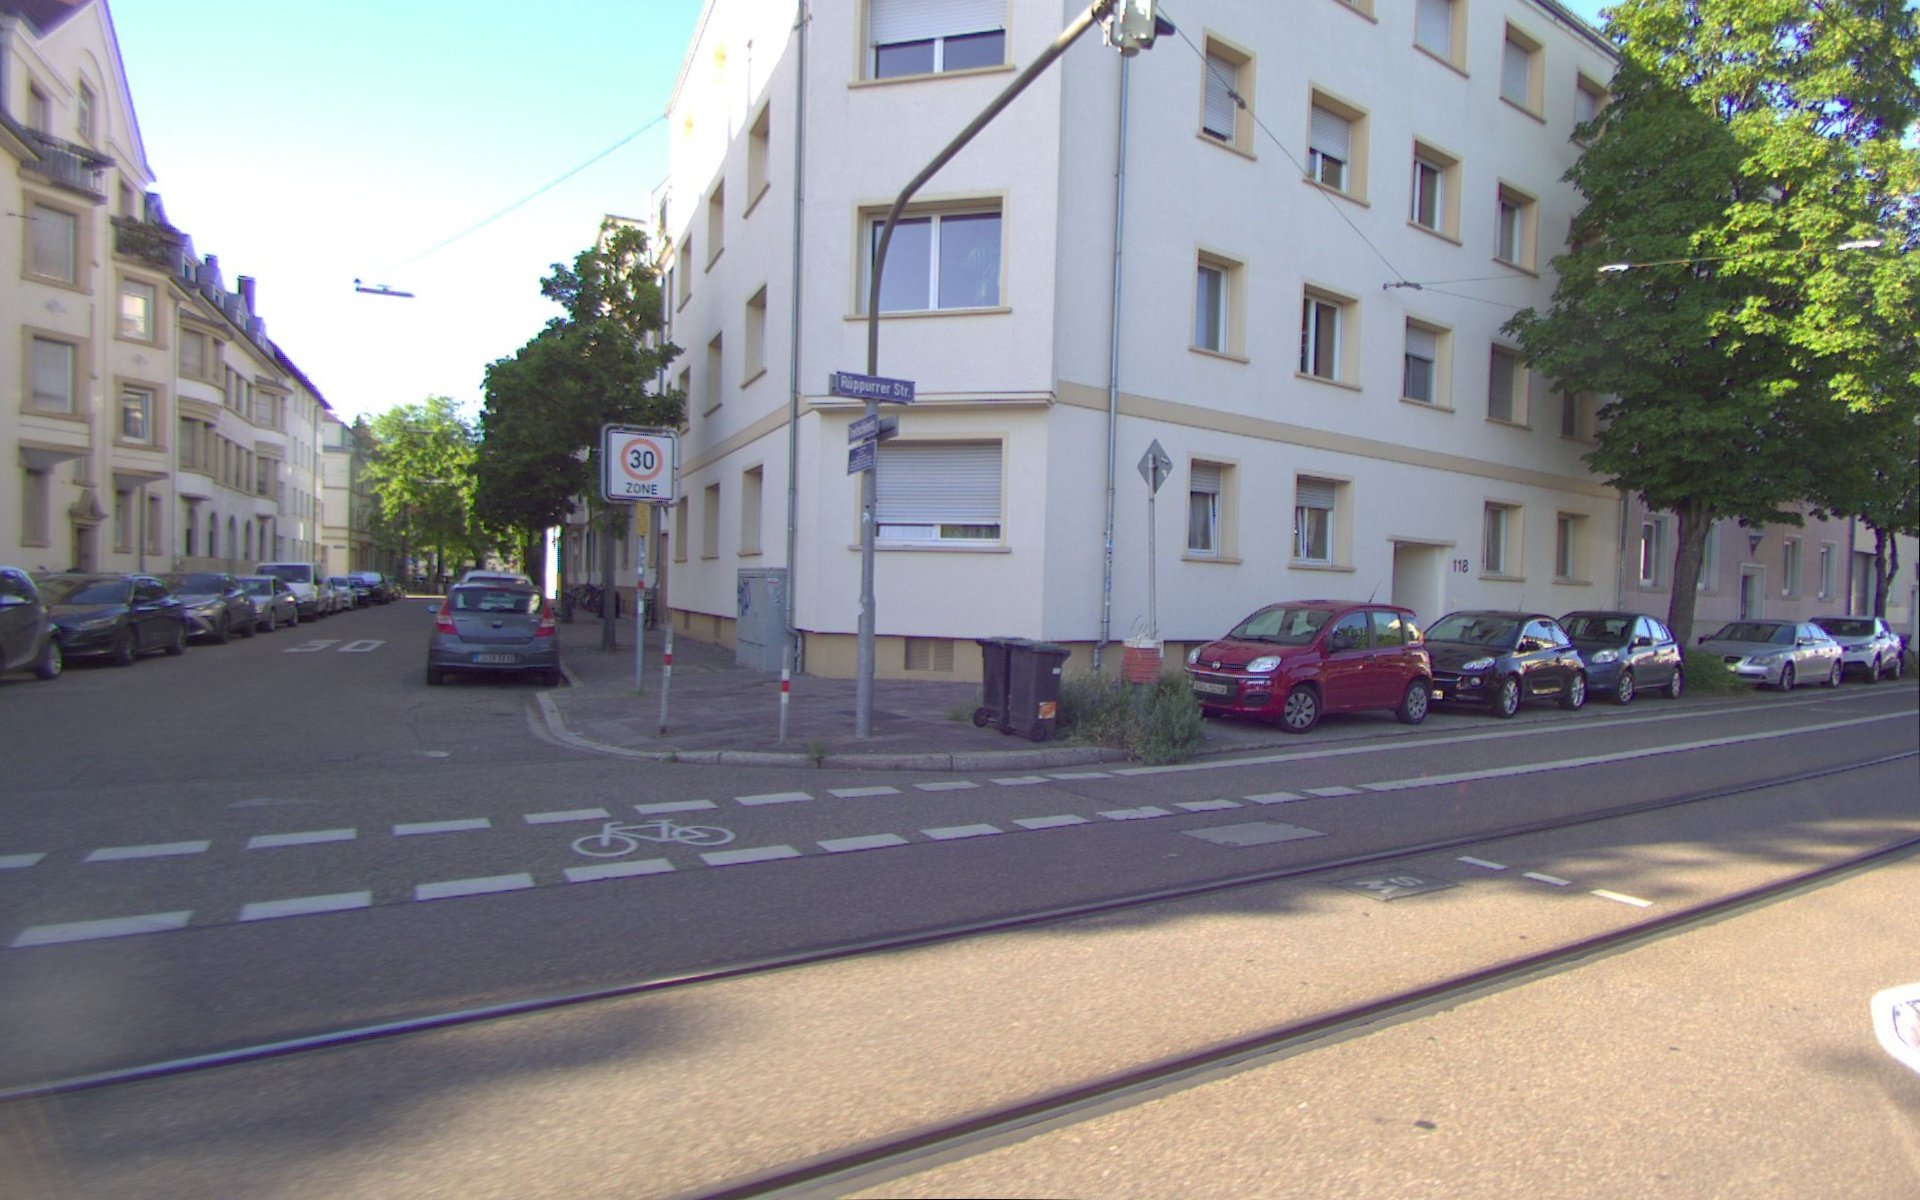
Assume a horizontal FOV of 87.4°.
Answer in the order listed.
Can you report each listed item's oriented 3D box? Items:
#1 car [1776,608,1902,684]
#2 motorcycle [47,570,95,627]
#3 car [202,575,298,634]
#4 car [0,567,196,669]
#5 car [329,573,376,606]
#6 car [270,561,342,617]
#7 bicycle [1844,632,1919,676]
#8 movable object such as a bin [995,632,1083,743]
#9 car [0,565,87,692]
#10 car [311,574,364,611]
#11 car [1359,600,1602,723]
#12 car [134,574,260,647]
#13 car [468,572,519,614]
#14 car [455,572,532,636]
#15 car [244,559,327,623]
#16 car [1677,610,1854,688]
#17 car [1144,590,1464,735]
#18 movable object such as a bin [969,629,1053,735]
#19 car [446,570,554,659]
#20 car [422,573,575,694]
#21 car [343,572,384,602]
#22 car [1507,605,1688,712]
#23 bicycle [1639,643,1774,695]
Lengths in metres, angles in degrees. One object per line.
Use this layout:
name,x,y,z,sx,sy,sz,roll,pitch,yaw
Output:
car,22.280,1.108,25.402,4.259,1.690,1.638,1,2,-39
motorcycle,-22.392,-0.057,25.322,0.530,1.324,2.218,1,2,-32
car,-18.768,0.086,26.673,1.558,1.477,3.495,0,1,-27
car,-14.172,0.246,16.599,1.688,1.477,4.152,1,0,-27
car,-28.118,-0.504,46.564,1.558,1.477,3.495,0,1,-27
car,-23.216,-0.373,35.765,1.718,1.859,3.495,1,0,-27
bicycle,25.520,1.474,27.474,0.471,1.060,1.913,1,2,-33
movable object such as a bin,0.760,0.825,9.695,0.652,1.001,0.482,1,2,-32
car,-12.524,0.292,12.611,1.559,1.477,3.494,1,0,-28
car,-26.163,-0.312,42.283,1.558,1.477,3.495,0,1,-27
car,7.977,0.849,15.298,3.823,1.550,1.773,1,3,-37
car,-16.615,0.186,22.020,1.558,1.477,3.495,0,1,-27
car,-20.486,-0.346,44.054,1.882,1.675,3.973,1,2,-26
car,-13.645,0.068,29.353,1.882,1.675,3.973,1,2,-26
car,-21.352,-0.285,31.926,1.718,1.859,3.495,1,0,-27
car,17.798,1.041,22.137,4.611,1.495,1.678,1,2,-34
car,4.421,0.724,12.763,3.955,1.550,1.680,1,1,-31
movable object such as a bin,0.512,0.805,10.124,0.652,1.001,0.482,1,2,-32
car,-9.859,0.246,21.462,1.882,1.675,3.973,1,2,-26
car,-7.208,0.425,15.647,1.882,1.550,3.973,1,2,-26
car,-30.722,-0.662,51.795,1.558,1.477,3.495,0,1,-27
car,11.346,0.967,17.792,3.700,1.635,1.578,1,2,-39
bicycle,15.038,1.368,20.298,0.472,0.836,2.113,1,2,-34
